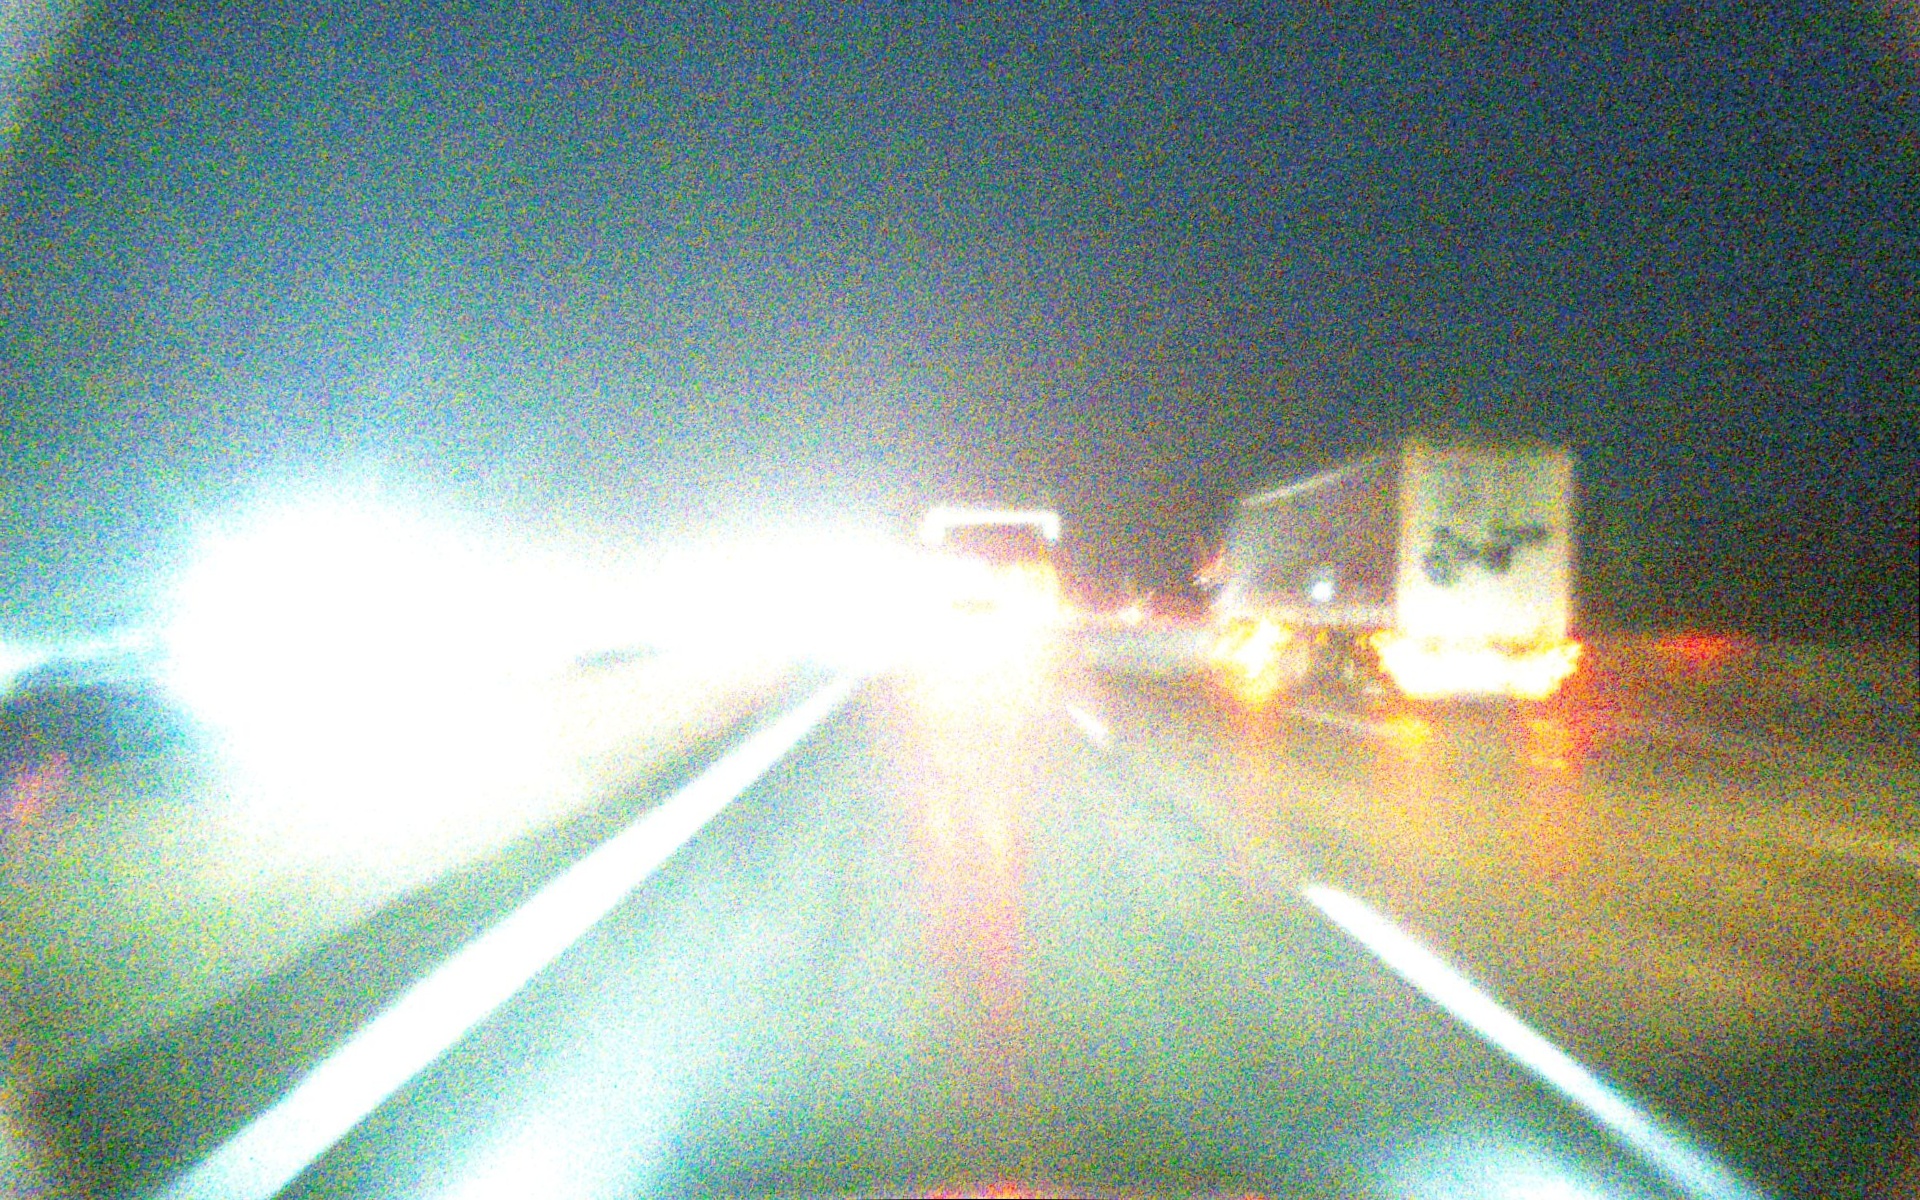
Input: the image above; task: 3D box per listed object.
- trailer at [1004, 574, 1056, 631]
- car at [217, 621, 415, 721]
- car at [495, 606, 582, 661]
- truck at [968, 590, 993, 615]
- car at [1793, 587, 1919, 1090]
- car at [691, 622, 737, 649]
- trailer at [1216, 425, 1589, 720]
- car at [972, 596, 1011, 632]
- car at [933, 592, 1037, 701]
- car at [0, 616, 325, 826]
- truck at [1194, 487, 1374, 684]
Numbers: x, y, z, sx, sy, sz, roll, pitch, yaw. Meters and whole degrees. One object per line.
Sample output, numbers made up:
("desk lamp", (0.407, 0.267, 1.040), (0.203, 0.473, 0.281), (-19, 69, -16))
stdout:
("trailer", (5.532, 0.313, 133.129), (2.980, 4.180, 13.821), (-2, -1, -2))
("car", (-12.861, 1.358, 33.450), (1.953, 1.769, 5.235), (2, -1, -1))
("car", (-16.601, 1.309, 65.459), (1.952, 2.049, 5.361), (-1, -1, 1))
("truck", (2.920, 0.456, 239.788), (2.976, 3.355, 11.374), (-2, -1, -2))
("car", (3.937, 0.736, 3.797), (1.705, 1.603, 4.492), (0, -1, -1))
("car", (-14.012, 2.001, 94.312), (1.953, 1.466, 4.436), (-1, 0, 0))
("trailer", (7.516, -0.348, 31.151), (2.844, 4.180, 14.483), (-1, 0, -1))
("car", (1.889, 0.850, 99.988), (1.954, 2.049, 3.996), (-2, -1, -4))
("car", (0.468, 0.947, 33.933), (1.953, 2.049, 3.999), (2, -1, -1))
("car", (-8.049, 1.080, 16.495), (1.954, 1.769, 3.998), (2, -1, -2))
("truck", (7.410, -0.293, 38.658), (2.844, 4.180, 6.029), (-1, -1, -1))
